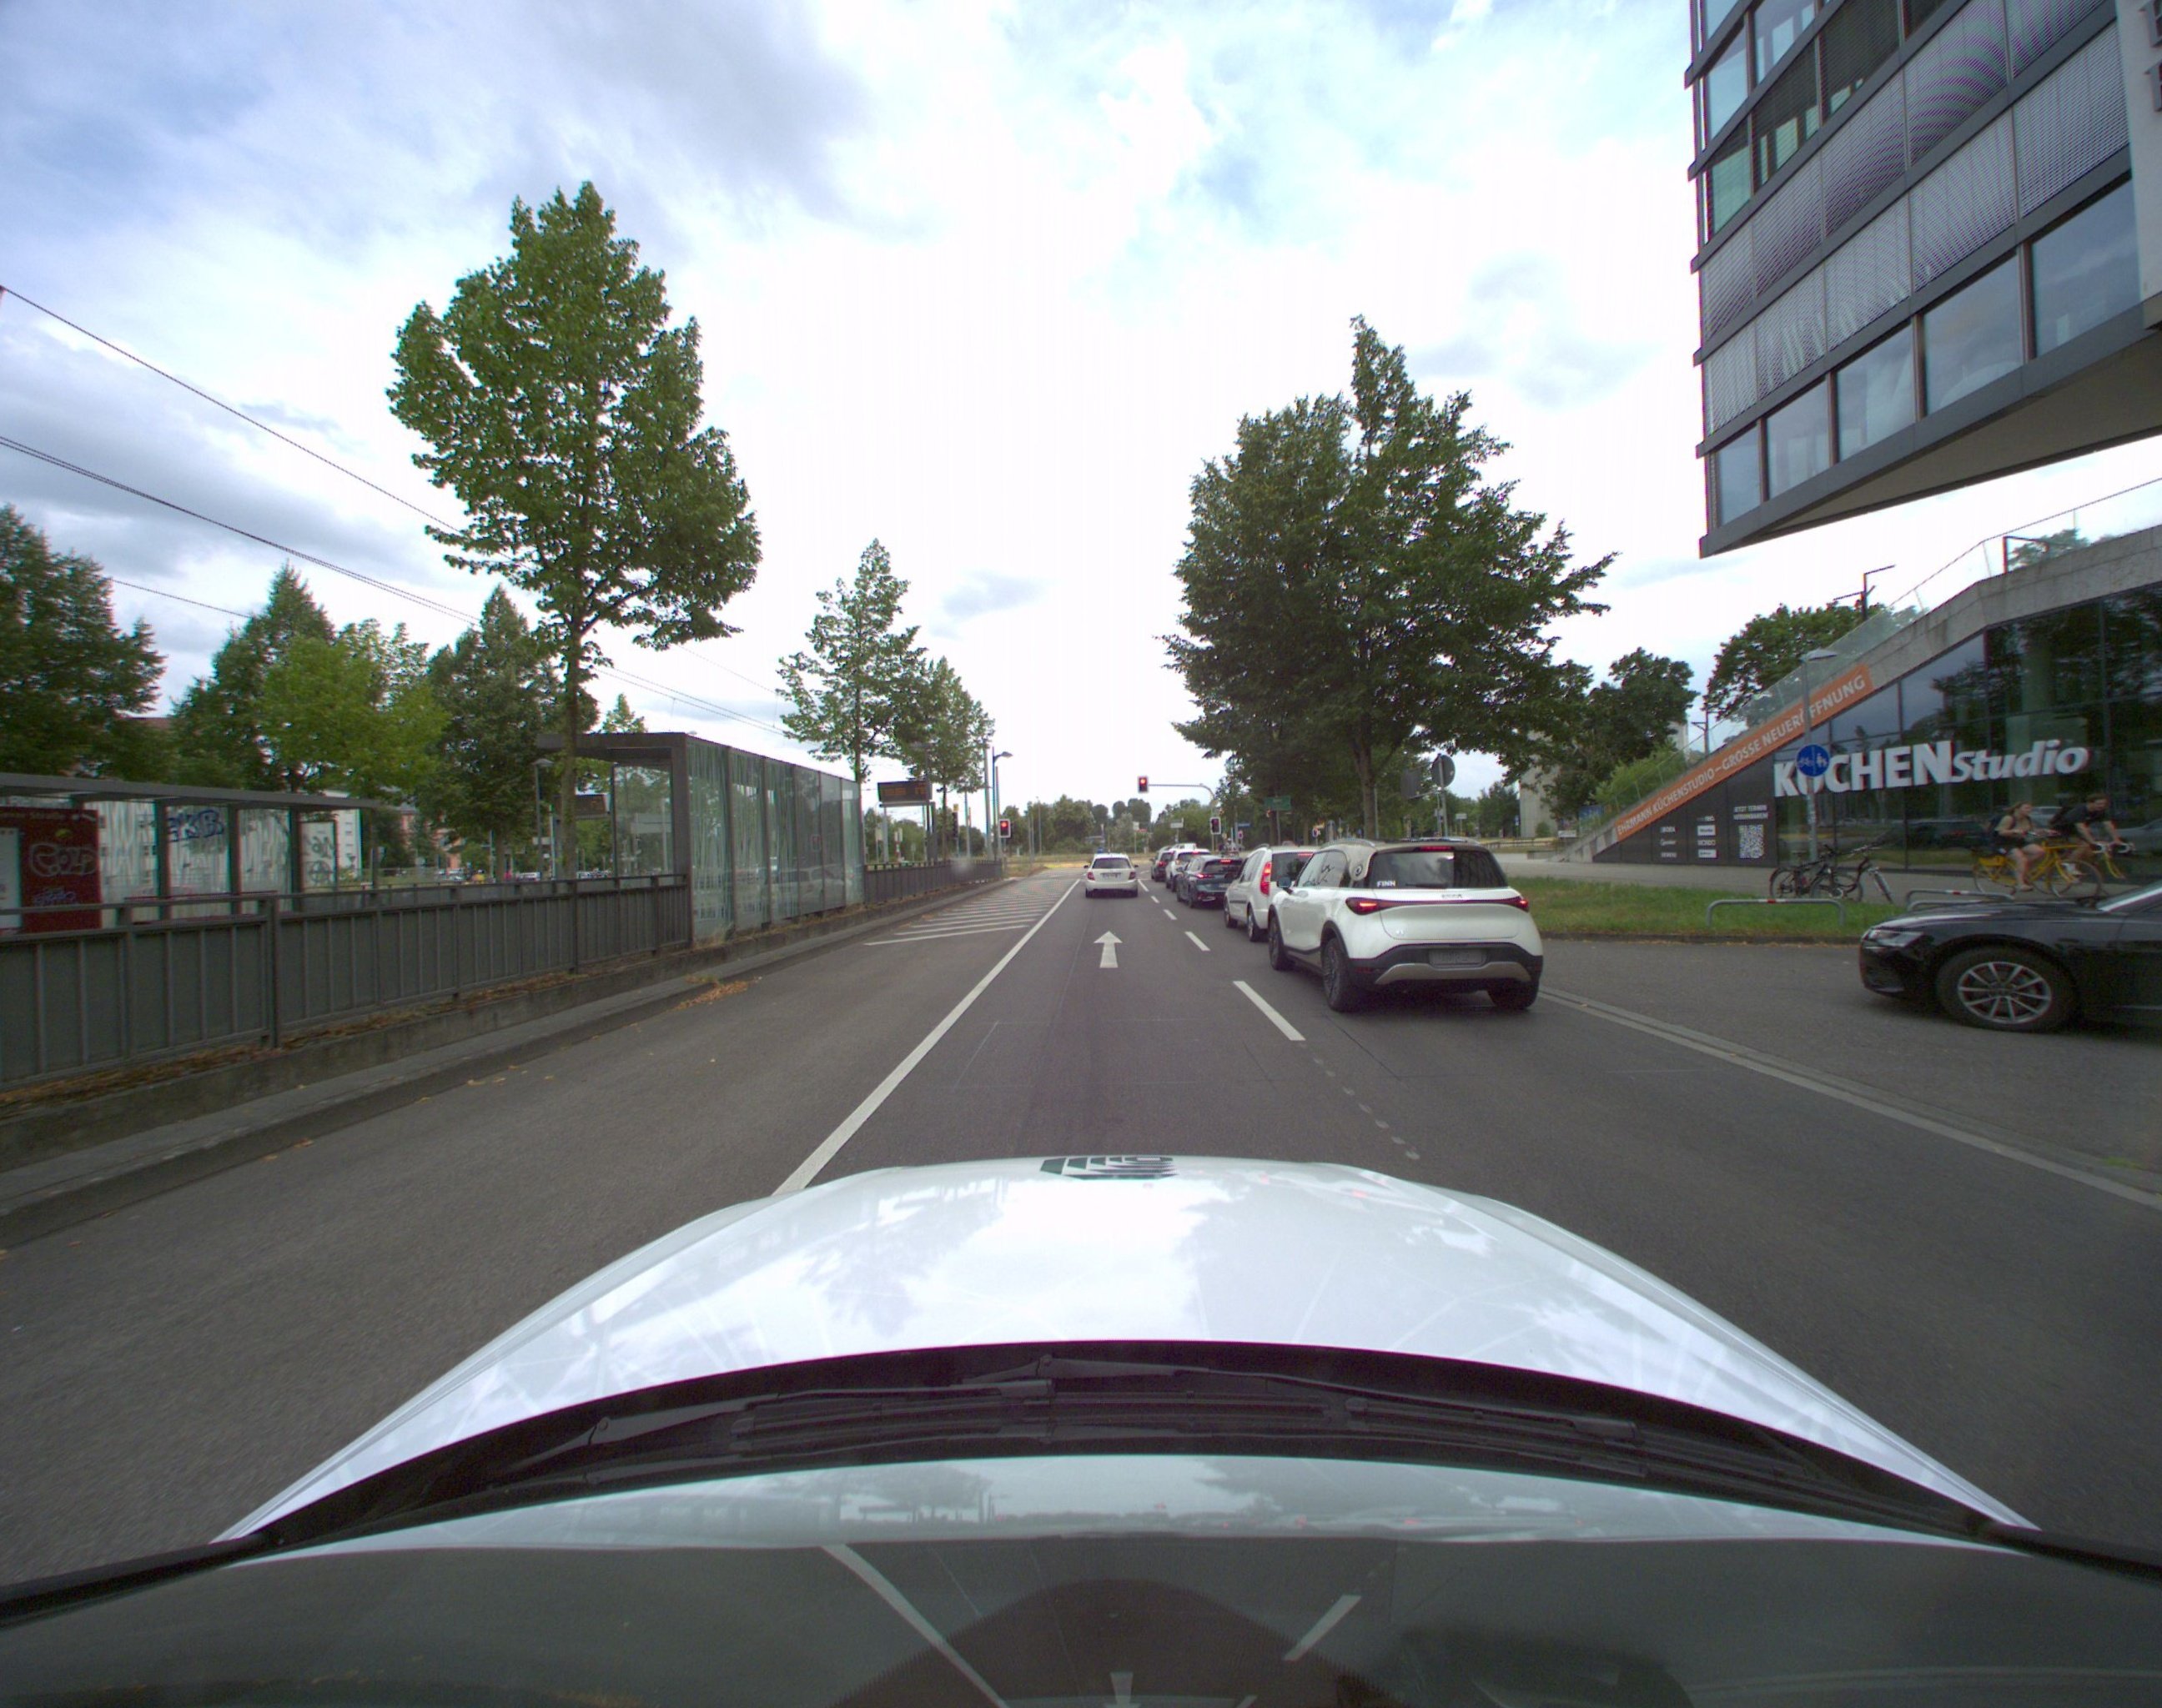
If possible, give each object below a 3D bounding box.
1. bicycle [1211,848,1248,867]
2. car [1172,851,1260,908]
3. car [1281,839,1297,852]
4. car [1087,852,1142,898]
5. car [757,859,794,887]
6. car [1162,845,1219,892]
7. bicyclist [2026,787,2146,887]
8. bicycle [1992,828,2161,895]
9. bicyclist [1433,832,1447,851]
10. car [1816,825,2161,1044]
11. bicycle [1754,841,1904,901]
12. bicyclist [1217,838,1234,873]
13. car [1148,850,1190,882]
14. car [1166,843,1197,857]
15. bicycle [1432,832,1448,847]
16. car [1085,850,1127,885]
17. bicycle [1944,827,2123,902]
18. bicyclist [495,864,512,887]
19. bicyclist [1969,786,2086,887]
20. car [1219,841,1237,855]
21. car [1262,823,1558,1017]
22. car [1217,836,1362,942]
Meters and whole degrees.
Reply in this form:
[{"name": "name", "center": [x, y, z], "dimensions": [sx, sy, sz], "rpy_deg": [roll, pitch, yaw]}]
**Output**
[{"name": "bicycle", "center": [8.192, 0.200, 44.931], "dimensions": [1.927, 0.984, 0.564], "rpy_deg": [-2, 0, 0]}, {"name": "car", "center": [3.758, 0.663, 23.411], "dimensions": [1.781, 1.432, 4.310], "rpy_deg": [-2, 0, 0]}, {"name": "car", "center": [27.170, -1.072, 106.497], "dimensions": [1.771, 1.636, 4.416], "rpy_deg": [-2, 0, 12]}, {"name": "car", "center": [1.096, 0.671, 28.346], "dimensions": [1.768, 1.448, 3.910], "rpy_deg": [-1, 0, 0]}, {"name": "car", "center": [-19.240, 1.184, 51.426], "dimensions": [1.999, 1.618, 4.357], "rpy_deg": [-2, 0, -19]}, {"name": "car", "center": [4.158, 0.506, 31.399], "dimensions": [1.780, 1.624, 3.913], "rpy_deg": [-2, 0, 2]}, {"name": "bicyclist", "center": [17.038, -0.279, 13.835], "dimensions": [0.722, 1.582, 0.990], "rpy_deg": [-4, 0, 2]}, {"name": "bicycle", "center": [17.062, 0.108, 13.953], "dimensions": [0.671, 1.042, 2.008], "rpy_deg": [-2, 0, 2]}, {"name": "bicyclist", "center": [36.380, -1.259, 82.498], "dimensions": [0.863, 1.789, 1.175], "rpy_deg": [-2, 0, 1]}, {"name": "car", "center": [8.515, 0.517, 5.574], "dimensions": [1.955, 1.475, 4.820], "rpy_deg": [-2, 0, -33]}, {"name": "bicycle", "center": [13.111, 0.272, 14.381], "dimensions": [0.628, 0.956, 2.106], "rpy_deg": [-2, 0, -3]}, {"name": "bicyclist", "center": [7.965, 0.055, 44.919], "dimensions": [0.726, 1.885, 0.734], "rpy_deg": [-2, 1, 0]}, {"name": "car", "center": [4.199, 0.526, 39.284], "dimensions": [1.619, 1.448, 3.910], "rpy_deg": [-1, 0, 0]}, {"name": "car", "center": [15.829, -0.656, 127.862], "dimensions": [5.026, 2.013, 1.976], "rpy_deg": [-2, 0, -41]}, {"name": "bicycle", "center": [36.359, -1.428, 82.494], "dimensions": [0.703, 1.505, 2.006], "rpy_deg": [0, 0, -1]}, {"name": "car", "center": [1.090, 0.568, 36.539], "dimensions": [1.768, 1.448, 3.910], "rpy_deg": [-1, 0, 0]}, {"name": "bicycle", "center": [15.870, 0.162, 13.660], "dimensions": [0.671, 1.143, 2.008], "rpy_deg": [-2, 0, 2]}, {"name": "bicyclist", "center": [-39.824, 1.492, 56.160], "dimensions": [0.896, 1.562, 0.741], "rpy_deg": [-2, 0, -41]}, {"name": "bicyclist", "center": [15.866, -0.284, 13.677], "dimensions": [0.722, 1.582, 0.990], "rpy_deg": [-4, 0, 2]}, {"name": "car", "center": [20.346, -0.808, 112.523], "dimensions": [1.985, 1.791, 4.004], "rpy_deg": [0, 0, 3]}, {"name": "car", "center": [3.265, 0.552, 8.991], "dimensions": [1.772, 1.656, 4.025], "rpy_deg": [0, 0, 2]}, {"name": "car", "center": [3.707, 0.558, 15.183], "dimensions": [1.772, 1.656, 4.025], "rpy_deg": [-2, 0, 2]}]
